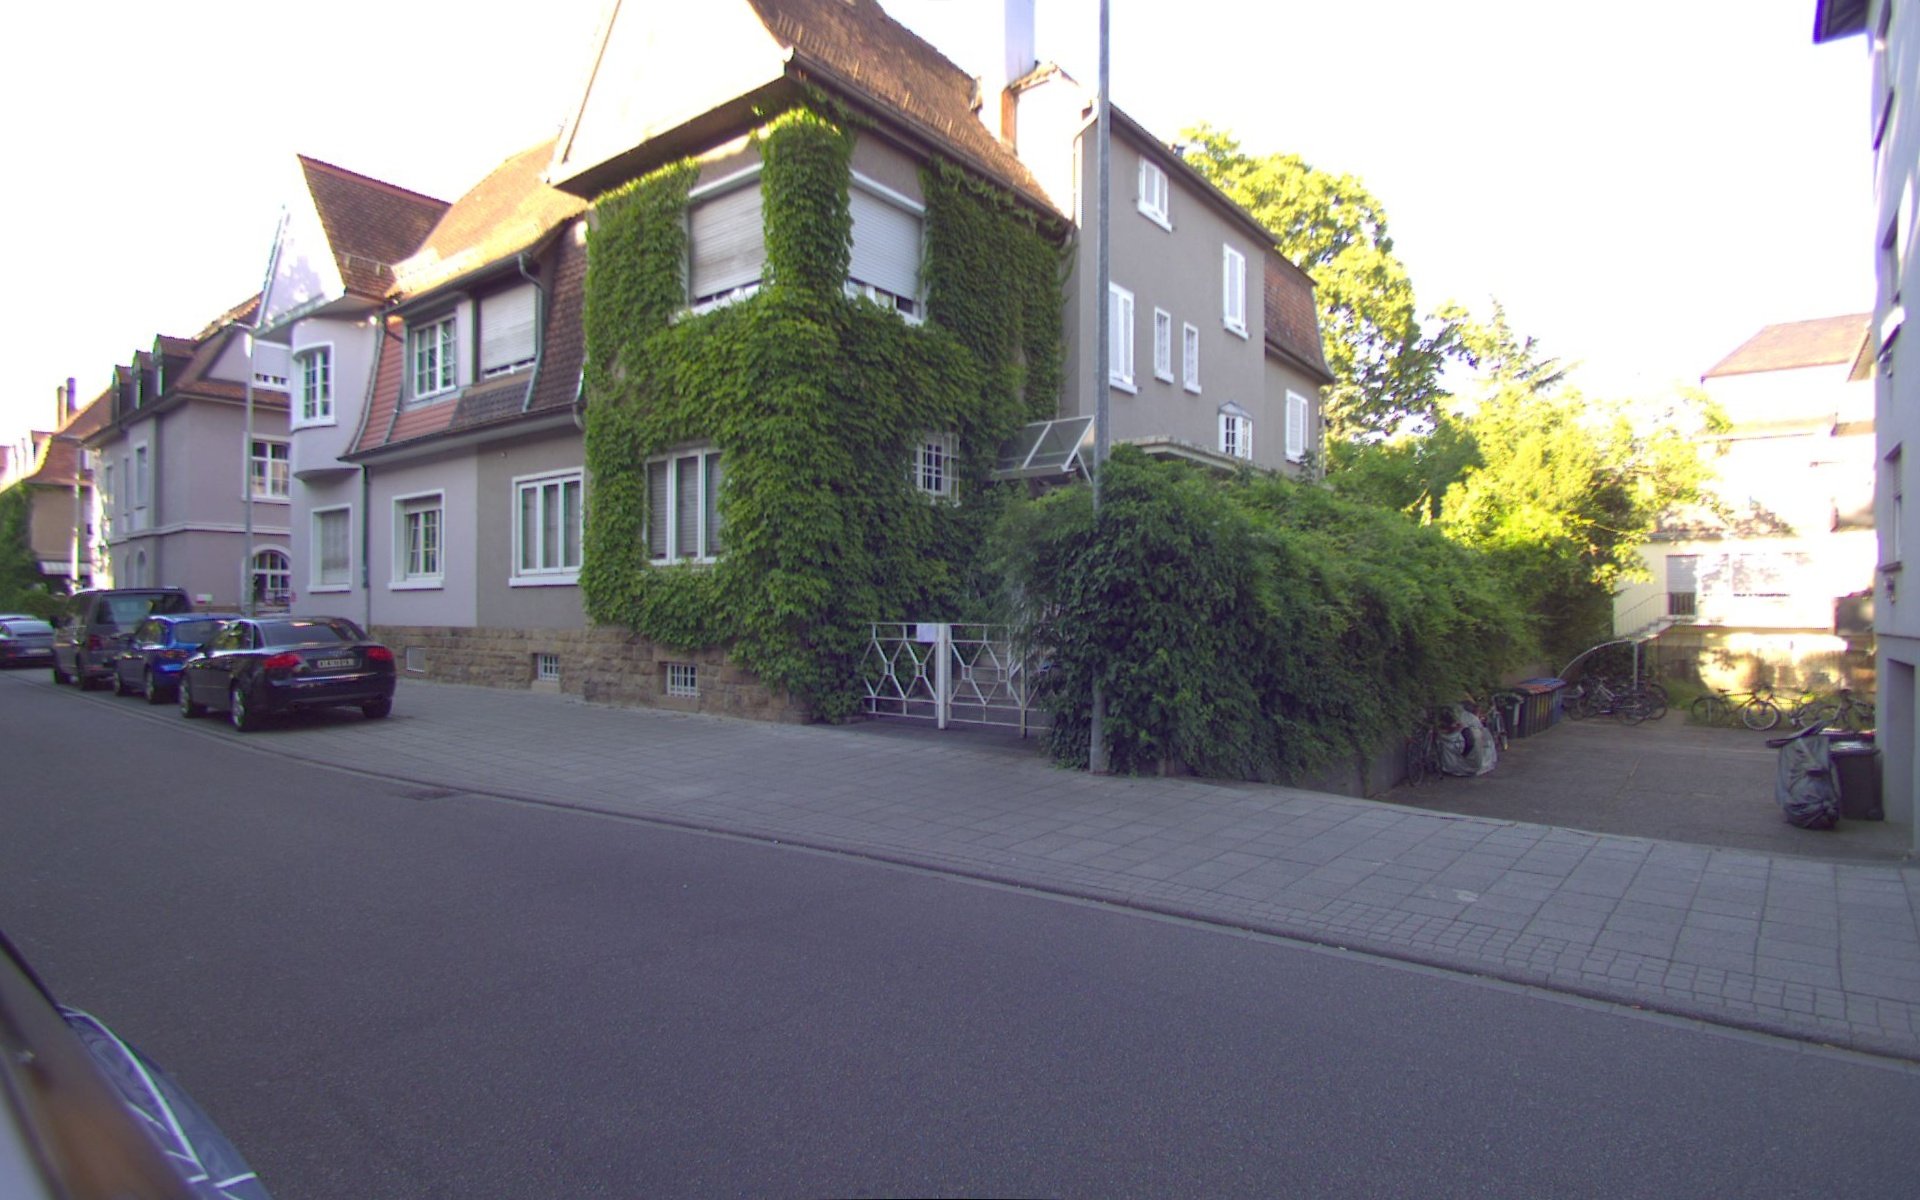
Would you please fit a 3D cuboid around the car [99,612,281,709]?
[{"bbox_3d":[-13.642,0.981,17.842,4.060,1.457,1.745,-1,1,41],"label":"car"}]

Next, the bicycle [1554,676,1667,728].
[{"bbox_3d":[16.235,2.521,25.299,2.294,1.142,0.685,-1,-4,42],"label":"bicycle"}]

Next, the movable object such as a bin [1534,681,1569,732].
[{"bbox_3d":[13.643,2.446,23.344,0.611,1.123,0.792,-1,-4,37],"label":"movable object such as a bin"}]

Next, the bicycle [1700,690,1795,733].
[{"bbox_3d":[18.888,2.663,24.297,1.754,0.886,0.558,-1,-4,42],"label":"bicycle"}]

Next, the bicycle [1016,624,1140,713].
[{"bbox_3d":[1.696,0.916,14.183,0.476,1.111,2.172,-1,-1,45],"label":"bicycle"}]

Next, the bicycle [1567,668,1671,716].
[{"bbox_3d":[18.053,2.509,27.764,2.338,1.186,0.685,-1,-4,42],"label":"bicycle"}]

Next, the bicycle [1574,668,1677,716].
[{"bbox_3d":[18.611,2.552,28.332,2.338,1.186,0.685,-1,-4,42],"label":"bicycle"}]

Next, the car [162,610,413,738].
[{"bbox_3d":[-9.436,0.910,14.058,4.426,1.457,1.783,-1,1,41],"label":"car"}]

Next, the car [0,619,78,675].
[{"bbox_3d":[-26.164,1.268,28.294,4.063,1.394,1.906,-1,1,44],"label":"car"}]

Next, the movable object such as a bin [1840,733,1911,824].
[{"bbox_3d":[11.711,2.268,12.963,0.611,1.045,0.532,-1,-4,37],"label":"movable object such as a bin"}]

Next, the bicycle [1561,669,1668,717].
[{"bbox_3d":[17.501,2.476,27.111,2.338,1.142,0.685,-1,-4,42],"label":"bicycle"}]

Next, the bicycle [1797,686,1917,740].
[{"bbox_3d":[20.365,2.538,23.022,2.005,1.080,0.558,-1,-4,42],"label":"bicycle"}]

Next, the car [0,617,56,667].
[{"bbox_3d":[-30.178,1.299,32.028,4.061,1.478,1.907,-1,1,42],"label":"car"}]

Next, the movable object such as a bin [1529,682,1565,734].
[{"bbox_3d":[13.173,2.413,22.713,0.611,1.123,0.792,-1,-4,37],"label":"movable object such as a bin"}]

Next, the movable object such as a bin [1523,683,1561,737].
[{"bbox_3d":[12.697,2.377,22.070,0.611,1.123,0.792,-1,-4,37],"label":"movable object such as a bin"}]

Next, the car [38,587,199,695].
[{"bbox_3d":[-17.530,0.788,21.012,4.610,1.990,1.819,-1,1,41],"label":"car"}]

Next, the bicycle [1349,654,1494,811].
[{"bbox_3d":[6.819,1.781,14.749,0.971,1.907,4.138,-1,-3,38],"label":"bicycle"}]

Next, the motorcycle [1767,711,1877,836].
[{"bbox_3d":[10.702,2.112,12.622,0.742,1.305,1.565,-1,-2,30],"label":"motorcycle"}]

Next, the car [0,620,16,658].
[{"bbox_3d":[-36.330,1.444,37.505,3.676,1.372,1.641,-1,1,42],"label":"car"}]

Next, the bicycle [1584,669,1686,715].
[{"bbox_3d":[19.195,2.599,28.826,2.338,1.186,0.685,-1,-4,42],"label":"bicycle"}]

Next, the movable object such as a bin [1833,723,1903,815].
[{"bbox_3d":[12.293,2.272,13.724,0.611,1.123,0.792,-1,-4,37],"label":"movable object such as a bin"}]
